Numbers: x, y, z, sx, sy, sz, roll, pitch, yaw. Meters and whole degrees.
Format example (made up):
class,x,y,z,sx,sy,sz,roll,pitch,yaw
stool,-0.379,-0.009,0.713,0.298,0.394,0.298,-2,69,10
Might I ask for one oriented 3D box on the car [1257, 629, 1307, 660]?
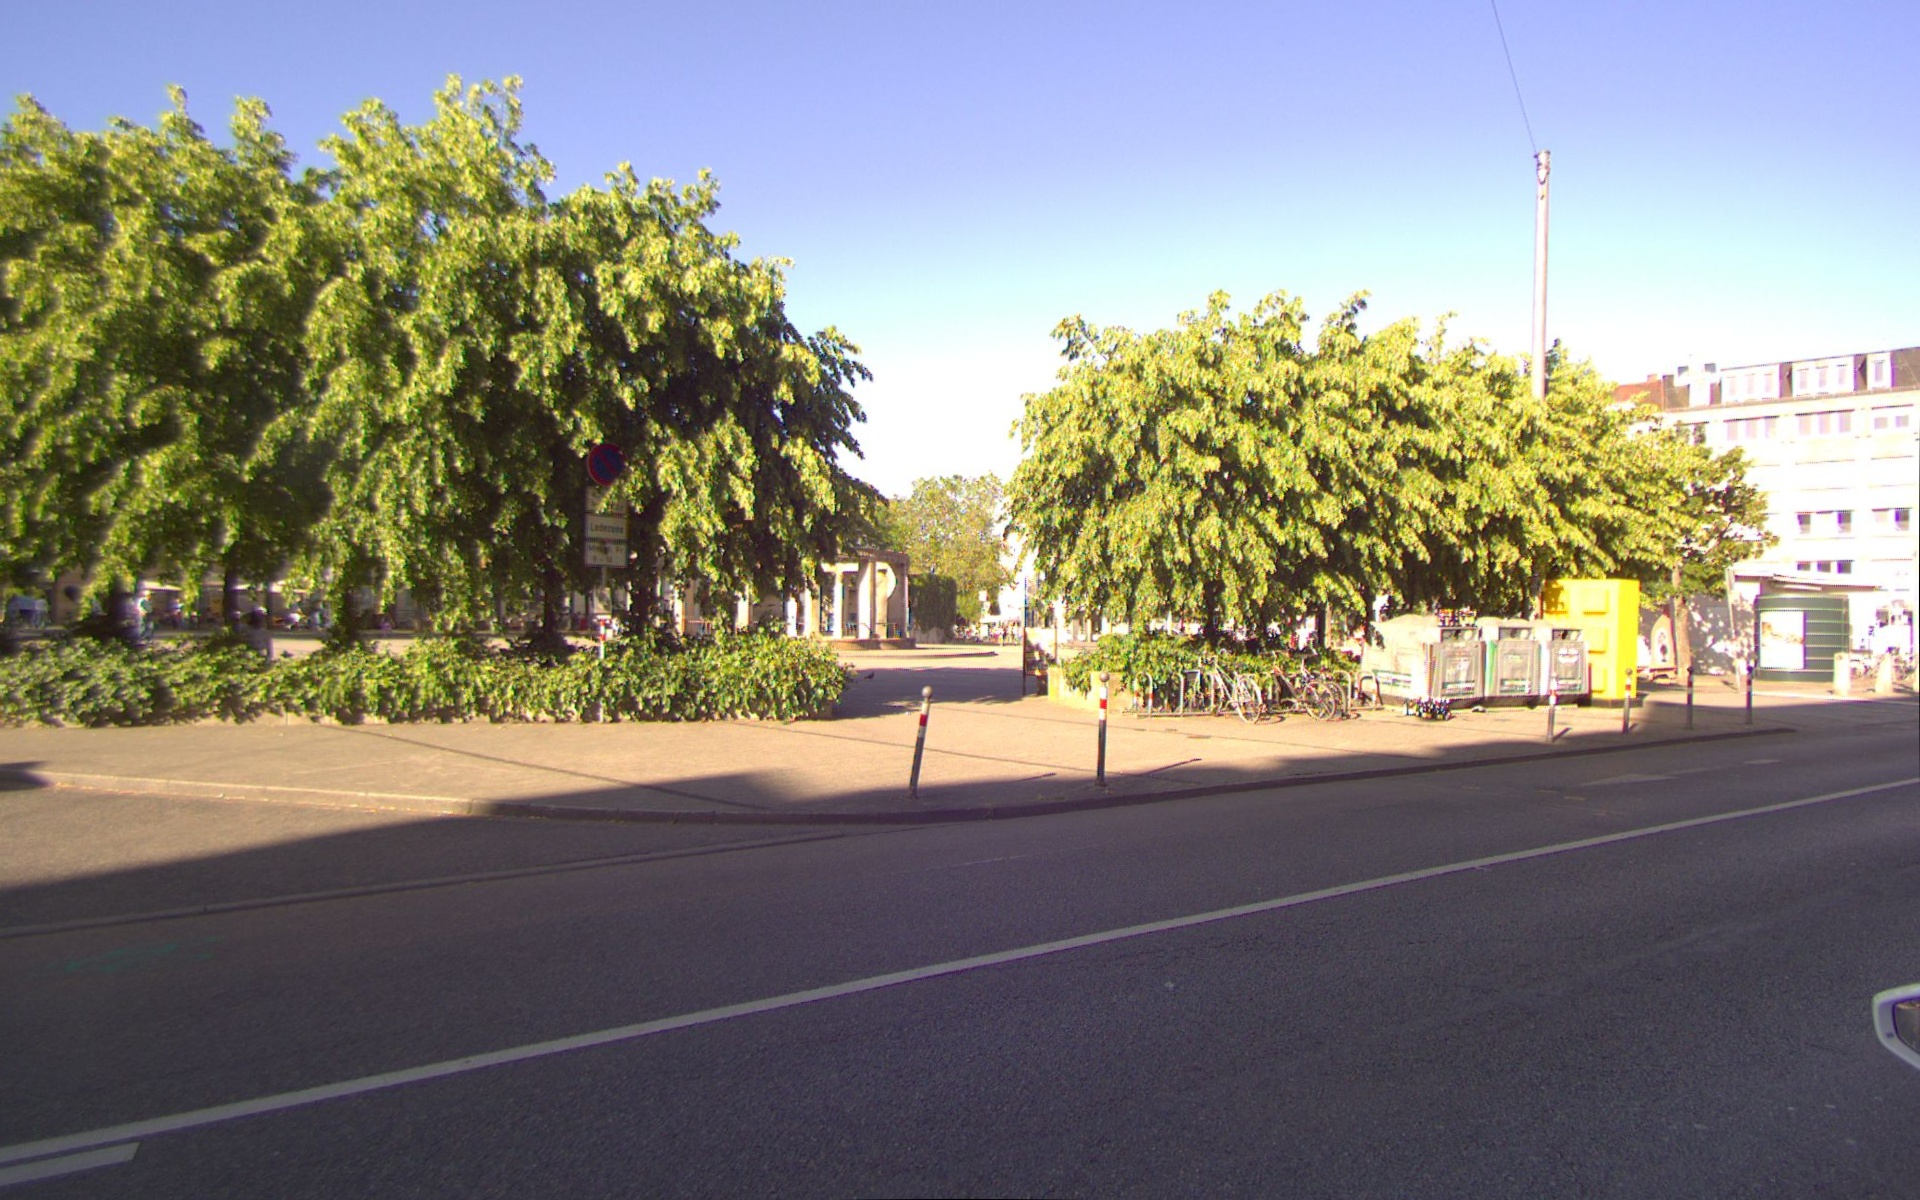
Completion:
class,x,y,z,sx,sy,sz,roll,pitch,yaw
car,16.383,2.244,51.211,1.658,1.405,3.575,1,-1,5

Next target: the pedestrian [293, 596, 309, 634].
class,x,y,z,sx,sy,sz,roll,pitch,yaw
pedestrian,-34.809,0.776,53.041,0.669,1.974,0.634,2,0,-33

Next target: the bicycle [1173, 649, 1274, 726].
class,x,y,z,sx,sy,sz,roll,pitch,yaw
bicycle,4.062,1.330,15.646,0.508,1.029,1.930,2,0,-19

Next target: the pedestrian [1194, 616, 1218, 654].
class,x,y,z,sx,sy,sz,roll,pitch,yaw
pedestrian,13.476,1.907,55.054,1.034,2.040,1.038,2,0,-1

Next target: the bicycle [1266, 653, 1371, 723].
class,x,y,z,sx,sy,sz,roll,pitch,yaw
bicycle,5.818,1.405,16.408,0.508,0.968,1.898,2,0,-20

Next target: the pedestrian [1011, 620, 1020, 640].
class,x,y,z,sx,sy,sz,roll,pitch,yaw
pedestrian,5.260,2.850,94.591,0.718,1.862,0.697,2,0,-5

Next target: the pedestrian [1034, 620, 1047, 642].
class,x,y,z,sx,sy,sz,roll,pitch,yaw
pedestrian,7.743,2.979,96.446,1.014,2.040,1.159,2,0,-5

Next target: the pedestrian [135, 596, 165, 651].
class,x,y,z,sx,sy,sz,roll,pitch,yaw
pedestrian,-26.199,0.754,32.481,0.599,1.744,0.644,2,0,41

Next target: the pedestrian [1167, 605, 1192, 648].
class,x,y,z,sx,sy,sz,roll,pitch,yaw
pedestrian,10.701,1.290,49.019,0.875,2.040,0.896,1,0,-17

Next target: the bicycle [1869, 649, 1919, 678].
class,x,y,z,sx,sy,sz,roll,pitch,yaw
bicycle,33.147,2.241,35.168,0.599,0.946,1.855,1,-1,-30

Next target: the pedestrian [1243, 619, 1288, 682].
class,x,y,z,sx,sy,sz,roll,pitch,yaw
pedestrian,10.246,1.690,33.705,0.967,2.040,1.042,2,0,-42

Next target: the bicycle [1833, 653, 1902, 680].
class,x,y,z,sx,sy,sz,roll,pitch,yaw
bicycle,30.813,2.248,34.118,0.600,0.802,1.634,2,0,-33

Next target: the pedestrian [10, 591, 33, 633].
class,x,y,z,sx,sy,sz,roll,pitch,yaw
pedestrian,-39.261,0.500,42.005,0.600,1.744,0.643,2,0,45

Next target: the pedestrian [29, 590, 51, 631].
class,x,y,z,sx,sy,sz,roll,pitch,yaw
pedestrian,-39.820,0.459,43.454,0.600,1.744,0.643,2,0,45

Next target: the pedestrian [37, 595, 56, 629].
class,x,y,z,sx,sy,sz,roll,pitch,yaw
pedestrian,-48.325,0.636,53.147,0.599,1.744,0.644,2,0,39

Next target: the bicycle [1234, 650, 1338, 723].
class,x,y,z,sx,sy,sz,roll,pitch,yaw
bicycle,5.248,1.371,16.295,0.508,1.016,1.923,2,0,-20

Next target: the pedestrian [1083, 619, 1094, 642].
class,x,y,z,sx,sy,sz,roll,pitch,yaw
pedestrian,12.735,3.002,99.549,0.860,2.199,0.902,2,0,-5

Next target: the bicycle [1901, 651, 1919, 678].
class,x,y,z,sx,sy,sz,roll,pitch,yaw
bicycle,35.043,2.334,35.979,0.599,0.946,1.854,2,0,-30

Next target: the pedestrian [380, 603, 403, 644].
class,x,y,z,sx,sy,sz,roll,pitch,yaw
pedestrian,-24.267,0.992,42.904,0.599,1.744,0.644,2,0,37

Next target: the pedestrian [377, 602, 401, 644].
class,x,y,z,sx,sy,sz,roll,pitch,yaw
pedestrian,-24.451,0.987,42.983,0.598,1.744,0.645,2,0,32

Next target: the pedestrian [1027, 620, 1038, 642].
class,x,y,z,sx,sy,sz,roll,pitch,yaw
pedestrian,6.780,2.889,93.676,0.860,2.040,0.902,2,0,-5

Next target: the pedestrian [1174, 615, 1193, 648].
class,x,y,z,sx,sy,sz,roll,pitch,yaw
pedestrian,11.723,1.647,52.654,0.774,1.720,0.763,1,0,-6

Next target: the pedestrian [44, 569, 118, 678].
class,x,y,z,sx,sy,sz,roll,pitch,yaw
pedestrian,-13.794,0.369,15.777,0.615,1.671,0.654,2,0,-16

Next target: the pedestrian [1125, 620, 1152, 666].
class,x,y,z,sx,sy,sz,roll,pitch,yaw
pedestrian,8.027,1.927,45.173,0.875,2.040,0.896,1,0,-17
